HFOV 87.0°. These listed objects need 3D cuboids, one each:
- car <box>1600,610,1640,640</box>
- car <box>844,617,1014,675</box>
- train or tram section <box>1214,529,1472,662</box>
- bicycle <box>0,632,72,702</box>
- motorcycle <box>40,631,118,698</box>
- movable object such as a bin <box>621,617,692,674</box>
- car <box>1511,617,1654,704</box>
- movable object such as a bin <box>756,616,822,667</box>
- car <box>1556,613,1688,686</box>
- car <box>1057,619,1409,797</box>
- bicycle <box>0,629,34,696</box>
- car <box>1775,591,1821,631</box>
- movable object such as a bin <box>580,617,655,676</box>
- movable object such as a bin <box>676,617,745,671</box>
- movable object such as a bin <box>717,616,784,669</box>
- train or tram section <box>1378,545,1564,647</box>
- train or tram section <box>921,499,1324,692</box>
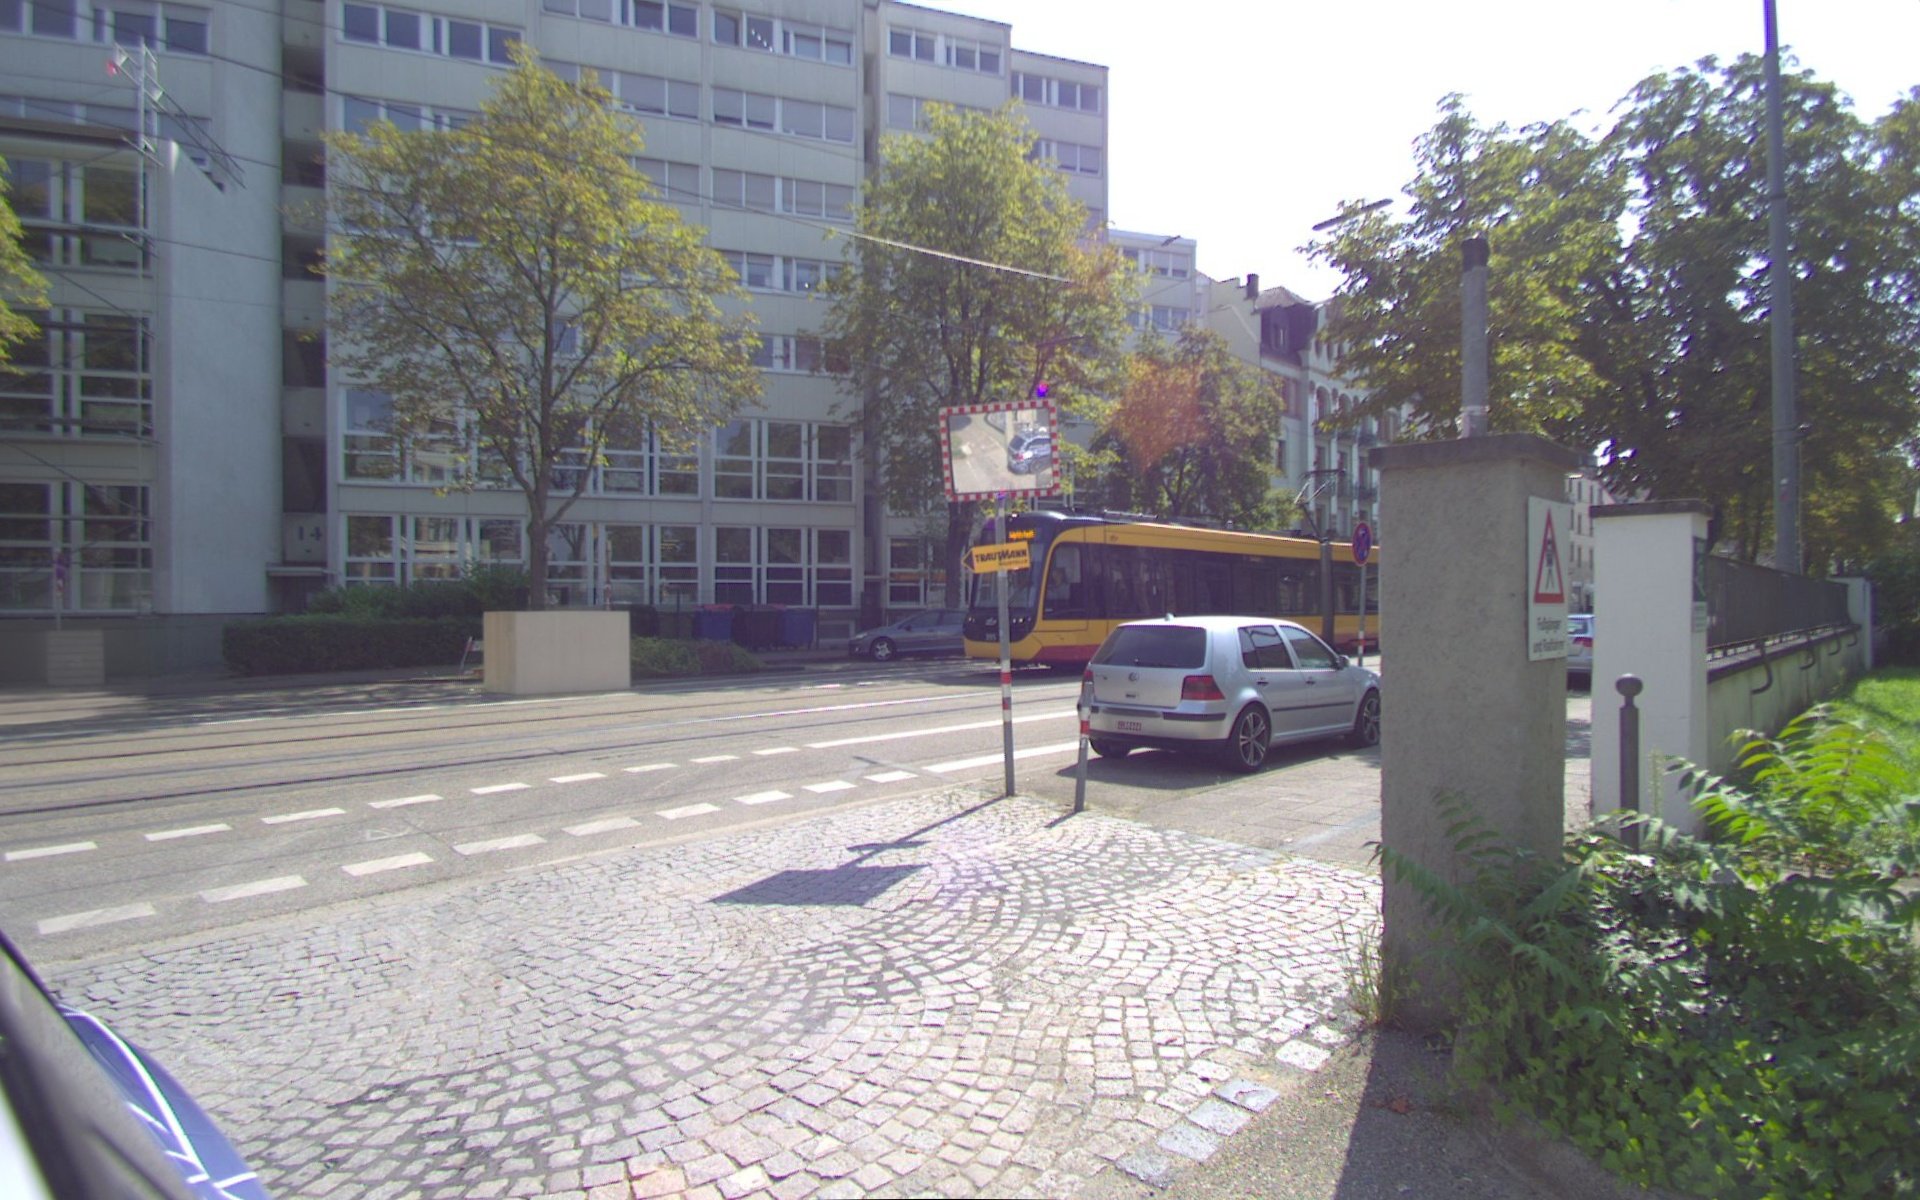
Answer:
[{"bbox_3d":[55.472,2.047,85.024,2.248,2.459,3.945,0,-1,41],"label":"car"},{"bbox_3d":[-0.880,1.279,28.689,4.621,1.463,1.677,-1,-1,-1],"label":"car"},{"bbox_3d":[13.241,-0.135,33.938,3.510,3.732,12.231,0,0,44],"label":"train or tram section"},{"bbox_3d":[-18.064,1.265,19.758,0.552,1.178,2.354,1,1,-28],"label":"bicycle"},{"bbox_3d":[-17.500,1.247,20.152,0.683,1.191,1.851,1,1,-25],"label":"motorcycle"},{"bbox_3d":[-8.784,1.290,29.267,1.688,1.571,1.335,-2,-2,44],"label":"movable object such as a bin"},{"bbox_3d":[12.306,1.111,19.927,1.647,1.523,3.587,0,-1,45],"label":"car"},{"bbox_3d":[-5.490,1.318,32.495,1.688,1.571,1.335,-2,-2,44],"label":"movable object such as a bin"},{"bbox_3d":[15.907,1.113,24.246,3.940,1.589,1.802,0,-1,-44],"label":"car"},{"bbox_3d":[2.900,0.949,10.370,3.676,1.457,1.799,1,-2,-43],"label":"car"},{"bbox_3d":[-18.607,1.197,19.442,0.611,1.178,2.354,1,1,-28],"label":"bicycle"},{"bbox_3d":[49.169,0.630,59.381,1.998,2.250,3.947,-1,-1,40],"label":"car"},{"bbox_3d":[-9.452,1.261,27.933,1.688,1.571,1.335,-2,-2,44],"label":"movable object such as a bin"},{"bbox_3d":[-7.465,1.290,30.243,1.688,1.571,1.335,-2,-2,44],"label":"movable object such as a bin"},{"bbox_3d":[-6.521,1.304,31.468,1.688,1.571,1.335,-2,-2,44],"label":"movable object such as a bin"},{"bbox_3d":[21.850,-0.158,42.690,3.510,3.732,12.231,0,0,44],"label":"train or tram section"},{"bbox_3d":[4.666,-0.097,25.138,3.510,3.732,12.231,0,0,44],"label":"train or tram section"}]
